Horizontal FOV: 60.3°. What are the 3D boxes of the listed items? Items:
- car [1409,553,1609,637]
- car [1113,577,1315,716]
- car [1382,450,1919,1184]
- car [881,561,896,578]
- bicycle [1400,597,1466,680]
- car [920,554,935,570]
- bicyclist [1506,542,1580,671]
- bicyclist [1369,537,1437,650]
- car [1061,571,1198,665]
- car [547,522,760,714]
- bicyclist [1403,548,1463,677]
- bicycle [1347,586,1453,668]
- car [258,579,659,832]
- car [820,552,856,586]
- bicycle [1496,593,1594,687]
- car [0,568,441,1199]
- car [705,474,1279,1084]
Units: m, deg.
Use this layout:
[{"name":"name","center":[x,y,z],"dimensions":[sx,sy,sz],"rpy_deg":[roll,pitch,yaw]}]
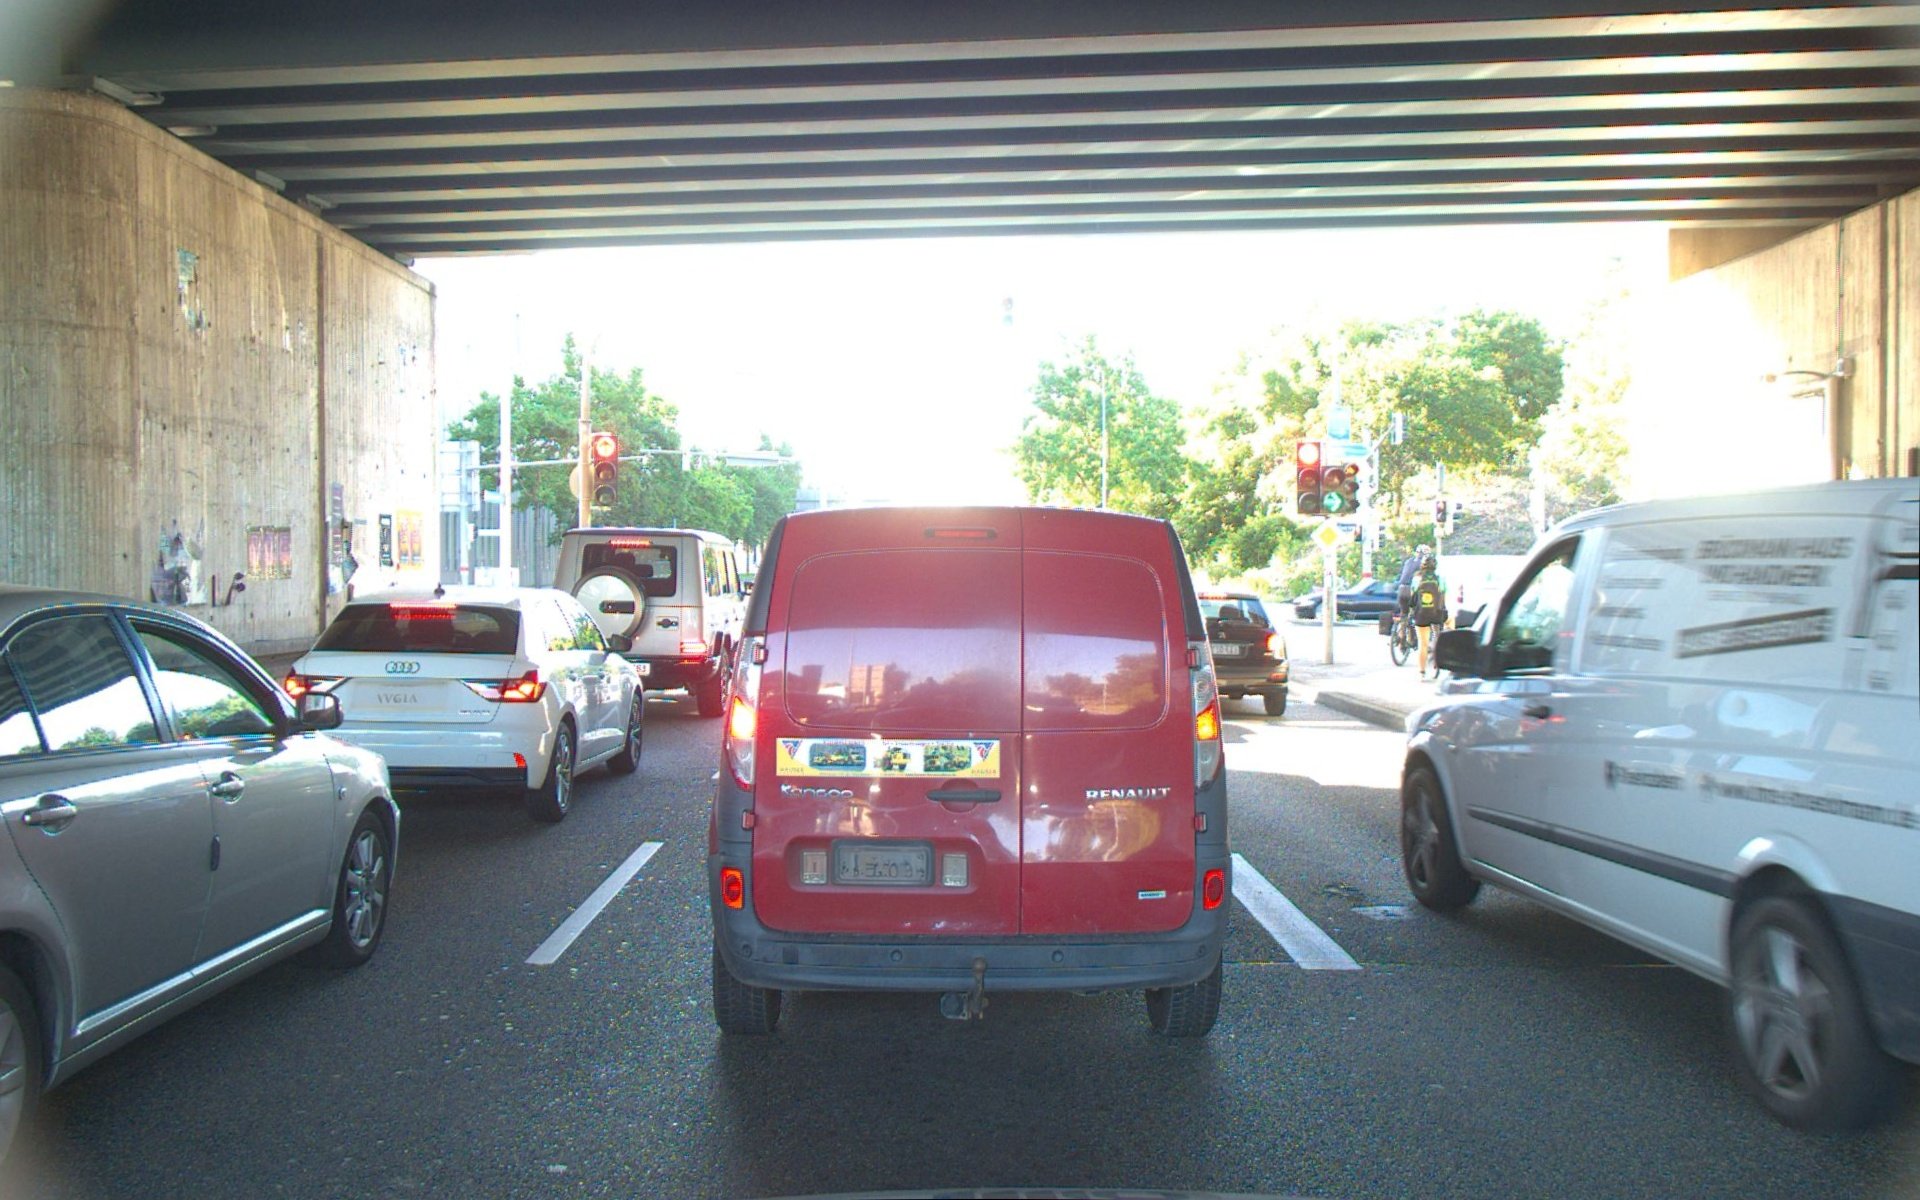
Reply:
[{"name":"car","center":[12.739,-0.156,38.399],"dimensions":[4.225,1.865,1.808],"rpy_deg":[0,2,-21]},{"name":"car","center":[2.935,0.497,19.815],"dimensions":[1.710,1.481,3.715],"rpy_deg":[1,0,-2]},{"name":"car","center":[3.258,0.549,6.137],"dimensions":[1.860,1.868,4.832],"rpy_deg":[1,0,-4]},{"name":"car","center":[-9.003,-3.845,207.407],"dimensions":[1.712,2.049,3.843],"rpy_deg":[1,0,-1]},{"name":"bicycle","center":[6.204,0.492,21.746],"dimensions":[0.662,1.042,1.530],"rpy_deg":[1,0,10]},{"name":"car","center":[-4.271,-5.043,220.643],"dimensions":[1.953,2.049,3.999],"rpy_deg":[1,0,-1]},{"name":"bicyclist","center":[7.346,0.080,20.867],"dimensions":[0.656,1.589,0.735],"rpy_deg":[0,0,-1]},{"name":"bicyclist","center":[6.806,-0.096,25.404],"dimensions":[0.734,1.684,0.883],"rpy_deg":[1,-1,35]},{"name":"car","center":[2.876,0.277,28.979],"dimensions":[1.711,1.481,4.662],"rpy_deg":[1,0,-3]},{"name":"car","center":[-3.355,0.174,18.771],"dimensions":[1.777,1.937,3.812],"rpy_deg":[1,0,-2]},{"name":"bicyclist","center":[6.221,0.167,21.780],"dimensions":[0.663,1.657,0.644],"rpy_deg":[1,0,10]},{"name":"bicycle","center":[6.761,0.388,25.323],"dimensions":[0.752,1.166,2.460],"rpy_deg":[-1,0,35]},{"name":"car","center":[-3.232,0.595,11.432],"dimensions":[1.658,1.435,3.812],"rpy_deg":[1,0,-1]},{"name":"car","center":[-7.622,-1.933,103.829],"dimensions":[1.953,2.049,3.999],"rpy_deg":[1,0,-1]},{"name":"bicycle","center":[7.354,0.487,20.845],"dimensions":[0.667,1.132,1.604],"rpy_deg":[0,0,0]},{"name":"car","center":[-3.013,0.647,4.874],"dimensions":[1.662,1.480,4.397],"rpy_deg":[1,0,-2]},{"name":"car","center":[0.069,0.524,6.927],"dimensions":[1.684,1.795,3.999],"rpy_deg":[1,0,-1]}]
